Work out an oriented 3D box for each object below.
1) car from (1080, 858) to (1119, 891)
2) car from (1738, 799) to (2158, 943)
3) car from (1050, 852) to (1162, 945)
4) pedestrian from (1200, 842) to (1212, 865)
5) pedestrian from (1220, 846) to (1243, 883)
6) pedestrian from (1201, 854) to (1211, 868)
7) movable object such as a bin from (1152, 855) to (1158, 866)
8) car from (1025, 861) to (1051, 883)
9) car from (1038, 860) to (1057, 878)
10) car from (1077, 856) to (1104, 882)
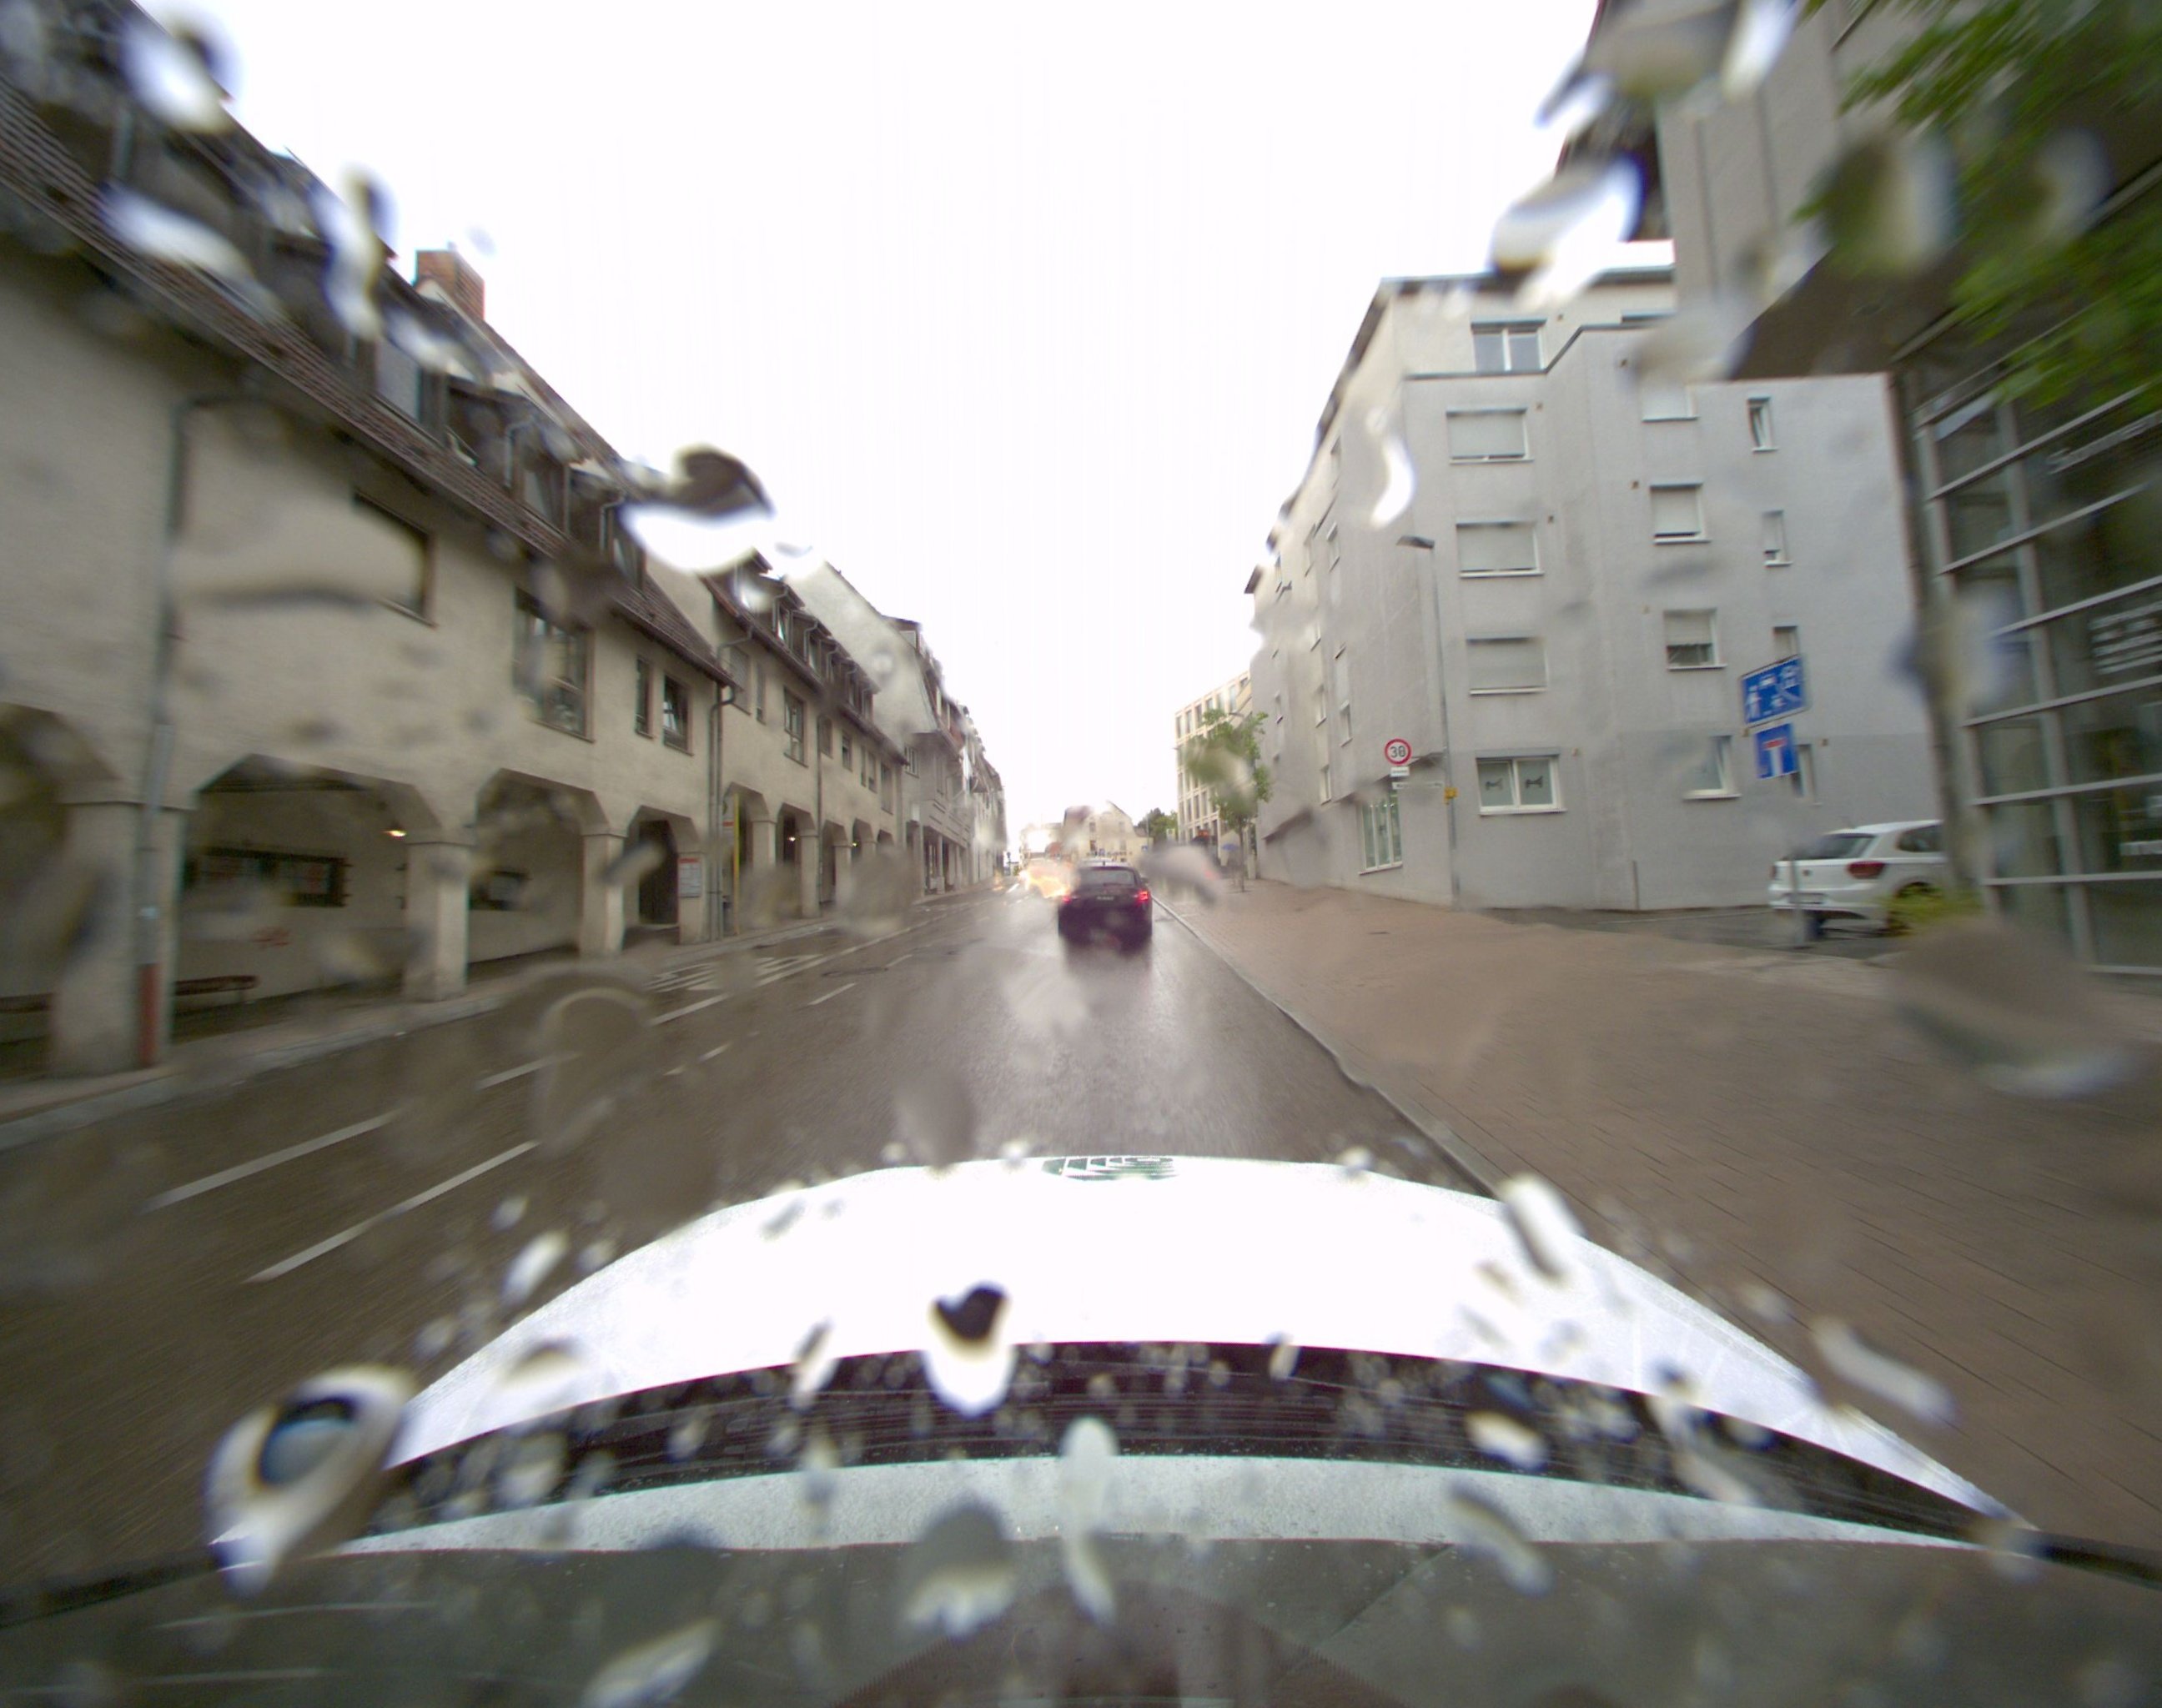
[{"bbox_3d":[0.875,0.978,40.258,1.672,1.510,3.586,-2,0,-2],"label":"car"},{"bbox_3d":[11.560,0.231,11.071,3.751,1.454,1.743,-5,-1,0],"label":"car"},{"bbox_3d":[0.482,0.800,16.667,1.938,1.567,4.418,-2,0,1],"label":"car"},{"bbox_3d":[10.615,-0.040,69.021,0.779,1.940,1.021,-4,-1,1],"label":"pedestrian"},{"bbox_3d":[6.582,0.455,35.654,0.732,1.542,1.039,-5,-1,4],"label":"pedestrian"},{"bbox_3d":[10.799,0.609,70.420,0.669,1.162,0.635,-4,-1,1],"label":"pedestrian"},{"bbox_3d":[7.410,0.649,81.512,0.593,1.062,0.579,-3,-1,0],"label":"movable object such as a bin"},{"bbox_3d":[-3.263,1.360,62.351,1.672,1.510,3.588,-2,0,0],"label":"car"},{"bbox_3d":[-3.095,1.358,75.688,1.672,1.510,3.586,-2,0,-2],"label":"car"},{"bbox_3d":[0.646,0.989,55.009,1.675,1.560,4.000,-3,0,1],"label":"car"}]
